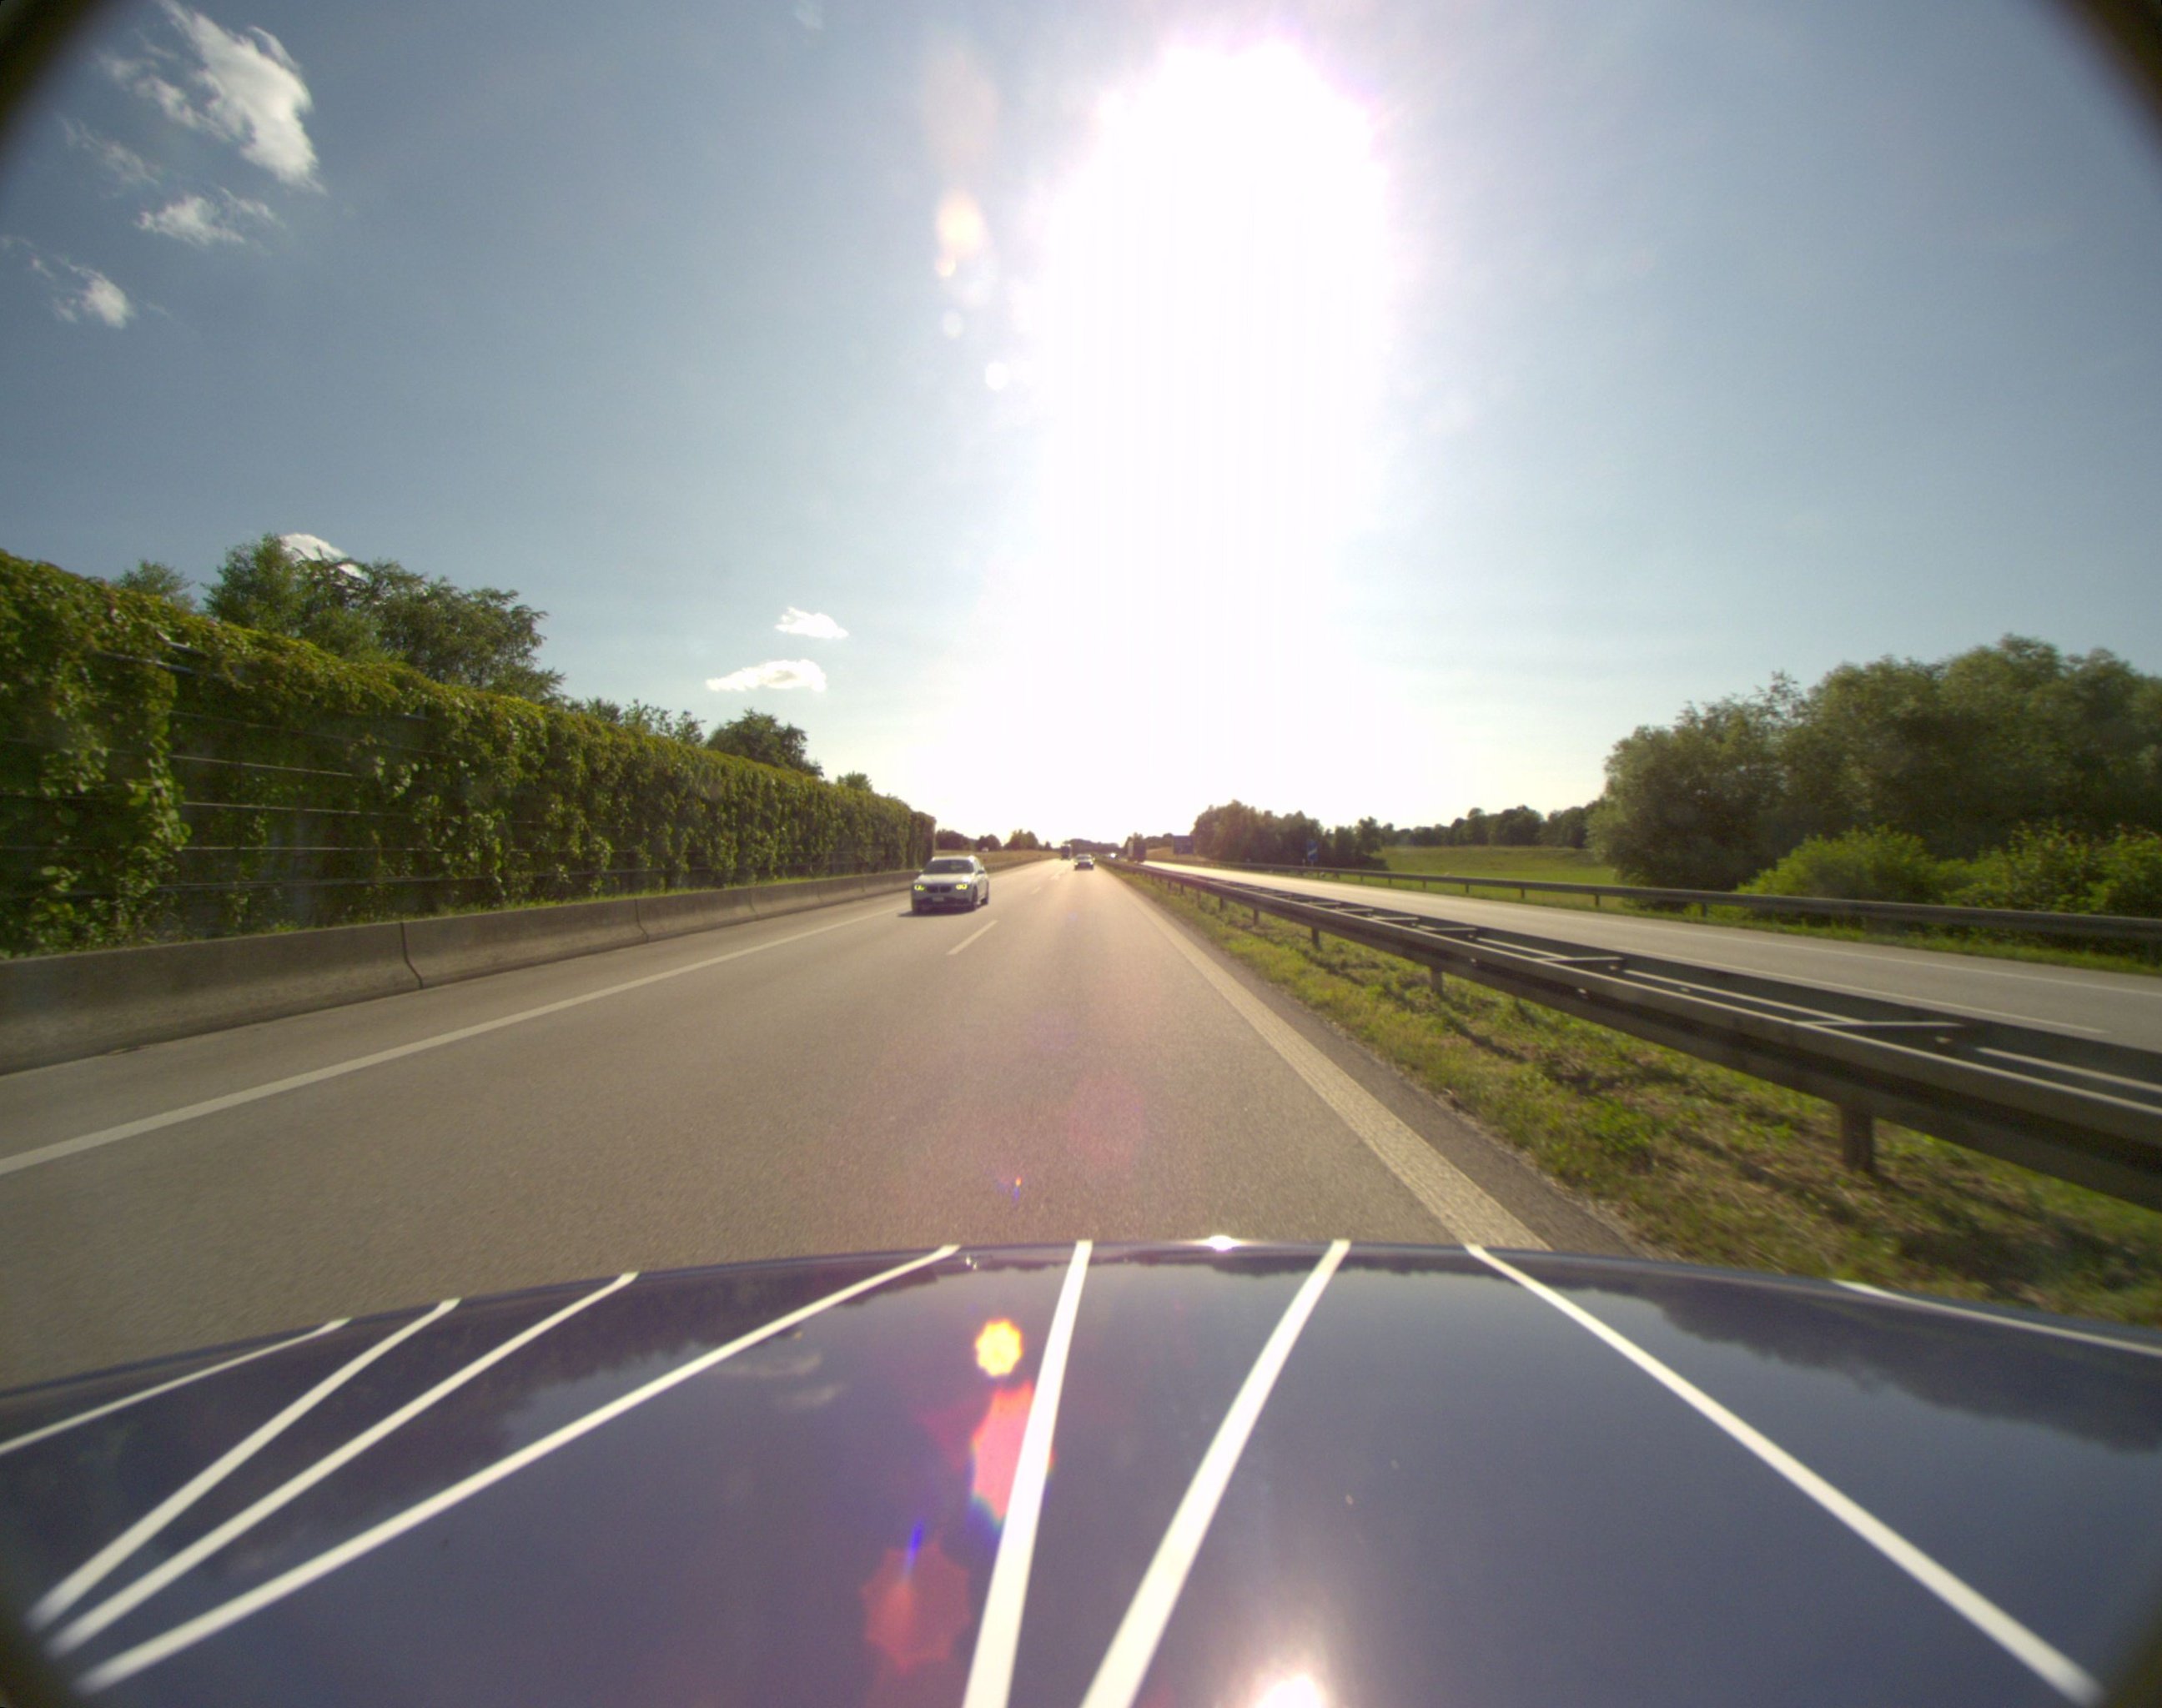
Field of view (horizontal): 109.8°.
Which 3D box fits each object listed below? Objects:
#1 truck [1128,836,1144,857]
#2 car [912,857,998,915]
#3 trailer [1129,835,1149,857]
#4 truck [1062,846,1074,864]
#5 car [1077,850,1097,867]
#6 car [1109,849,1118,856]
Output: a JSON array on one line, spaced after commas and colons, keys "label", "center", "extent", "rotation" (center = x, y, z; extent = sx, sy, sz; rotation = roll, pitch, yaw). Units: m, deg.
[{"label": "truck", "center": [11.467, -1.614, 158.620], "extent": [2.747, 4.278, 6.333], "rotation": [1, 1, -1]}, {"label": "car", "center": [-3.662, 0.872, 22.941], "extent": [1.689, 1.487, 4.987], "rotation": [-2, 0, 0]}, {"label": "trailer", "center": [11.528, -1.494, 151.735], "extent": [2.795, 4.136, 14.391], "rotation": [1, 0, 0]}, {"label": "truck", "center": [-3.138, 0.184, 191.639], "extent": [2.536, 4.228, 11.265], "rotation": [1, 0, 1]}, {"label": "car", "center": [0.583, 0.408, 72.489], "extent": [1.870, 1.514, 4.284], "rotation": [2, 0, 1]}, {"label": "car", "center": [7.900, -0.308, 184.757], "extent": [1.999, 1.655, 4.633], "rotation": [2, 0, -1]}]
